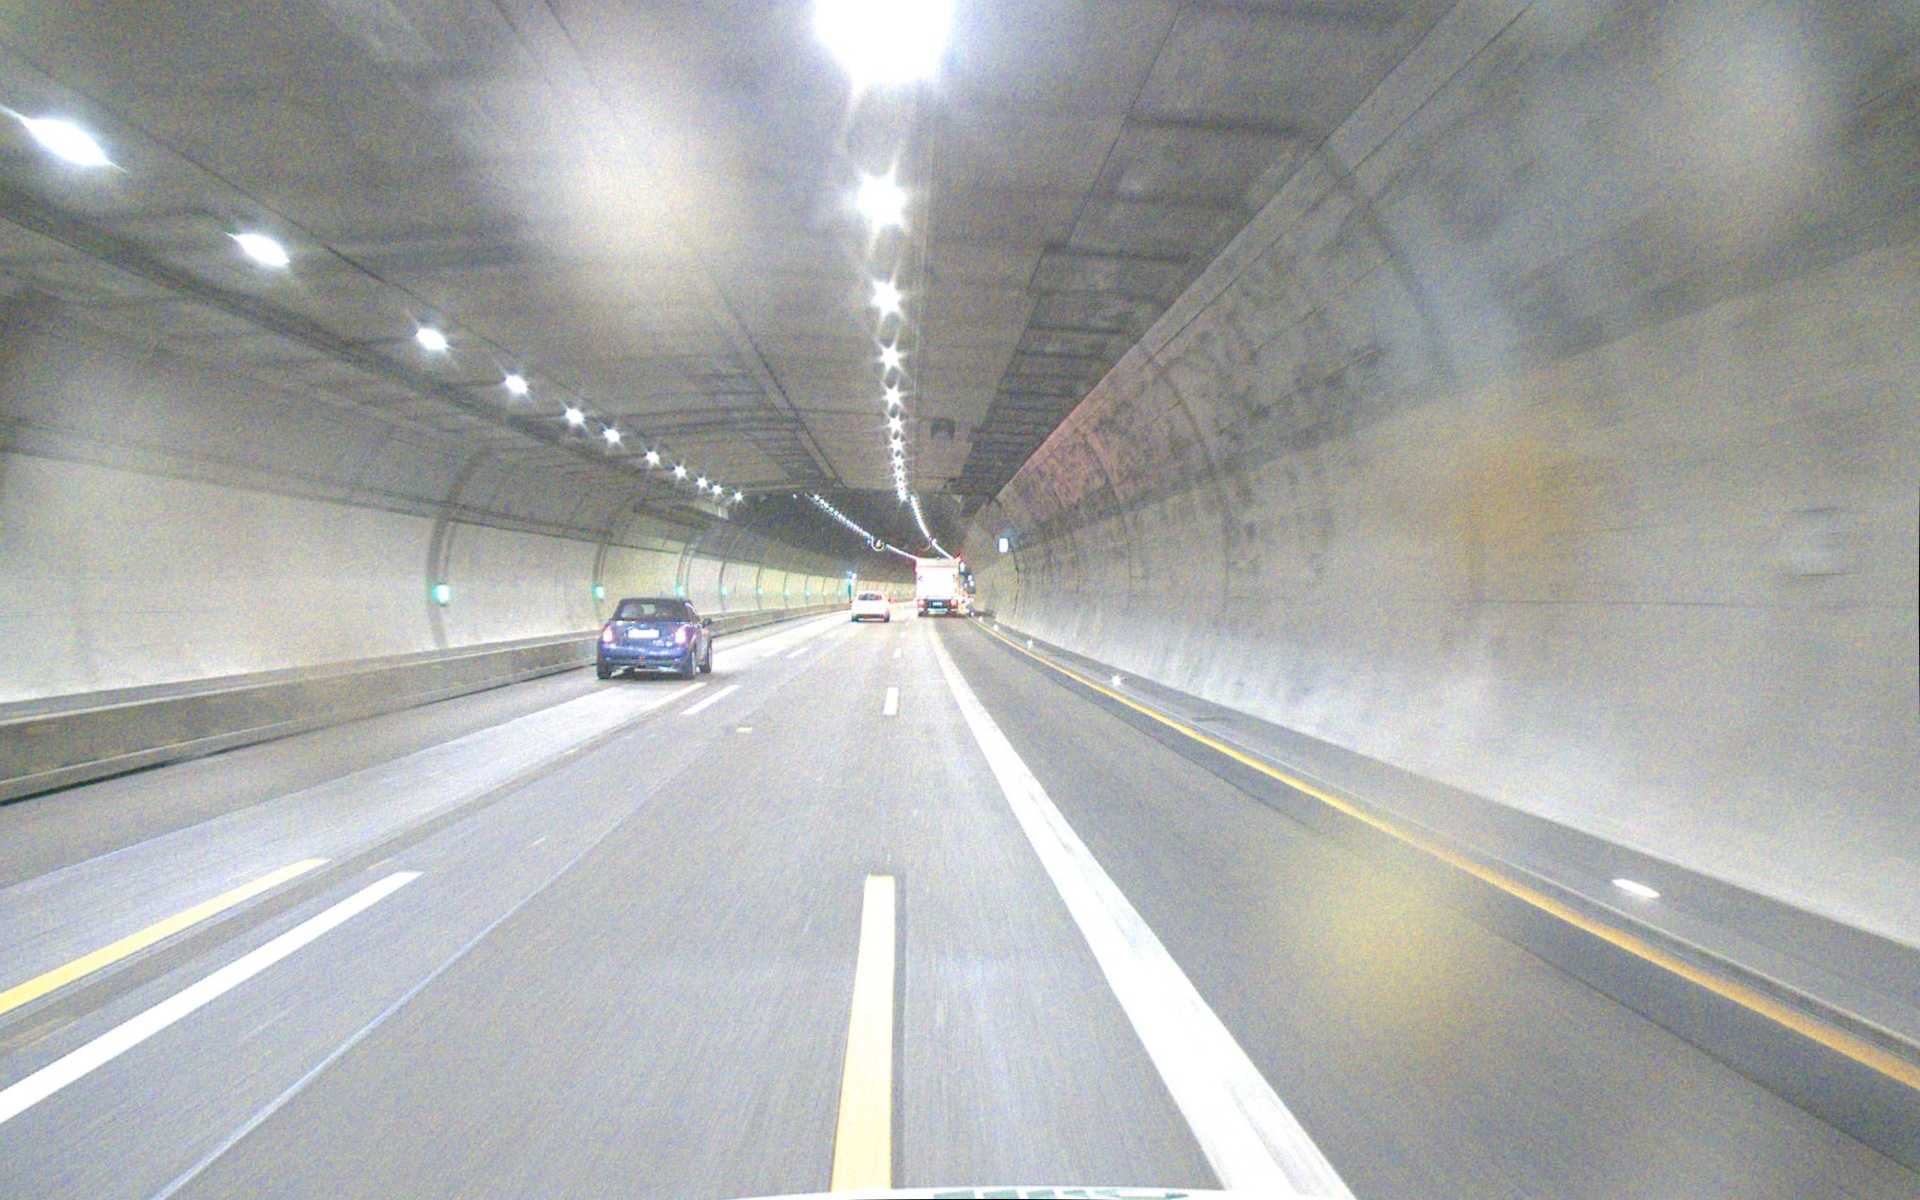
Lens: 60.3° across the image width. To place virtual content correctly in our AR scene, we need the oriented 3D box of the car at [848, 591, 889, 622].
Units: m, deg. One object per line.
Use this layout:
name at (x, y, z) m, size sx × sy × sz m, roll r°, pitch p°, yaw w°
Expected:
car at (-4.537, 0.288, 81.258) m, size 1.954 × 1.437 × 4.739 m, roll 0°, pitch 0°, yaw -4°

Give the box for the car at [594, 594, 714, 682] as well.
car at (-5.406, 0.632, 29.632) m, size 1.656 × 1.442 × 3.920 m, roll 1°, pitch 0°, yaw -4°

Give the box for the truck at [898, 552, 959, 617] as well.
truck at (-1.851, -0.924, 101.406) m, size 3.519 × 3.714 × 10.721 m, roll 0°, pitch 0°, yaw -1°
